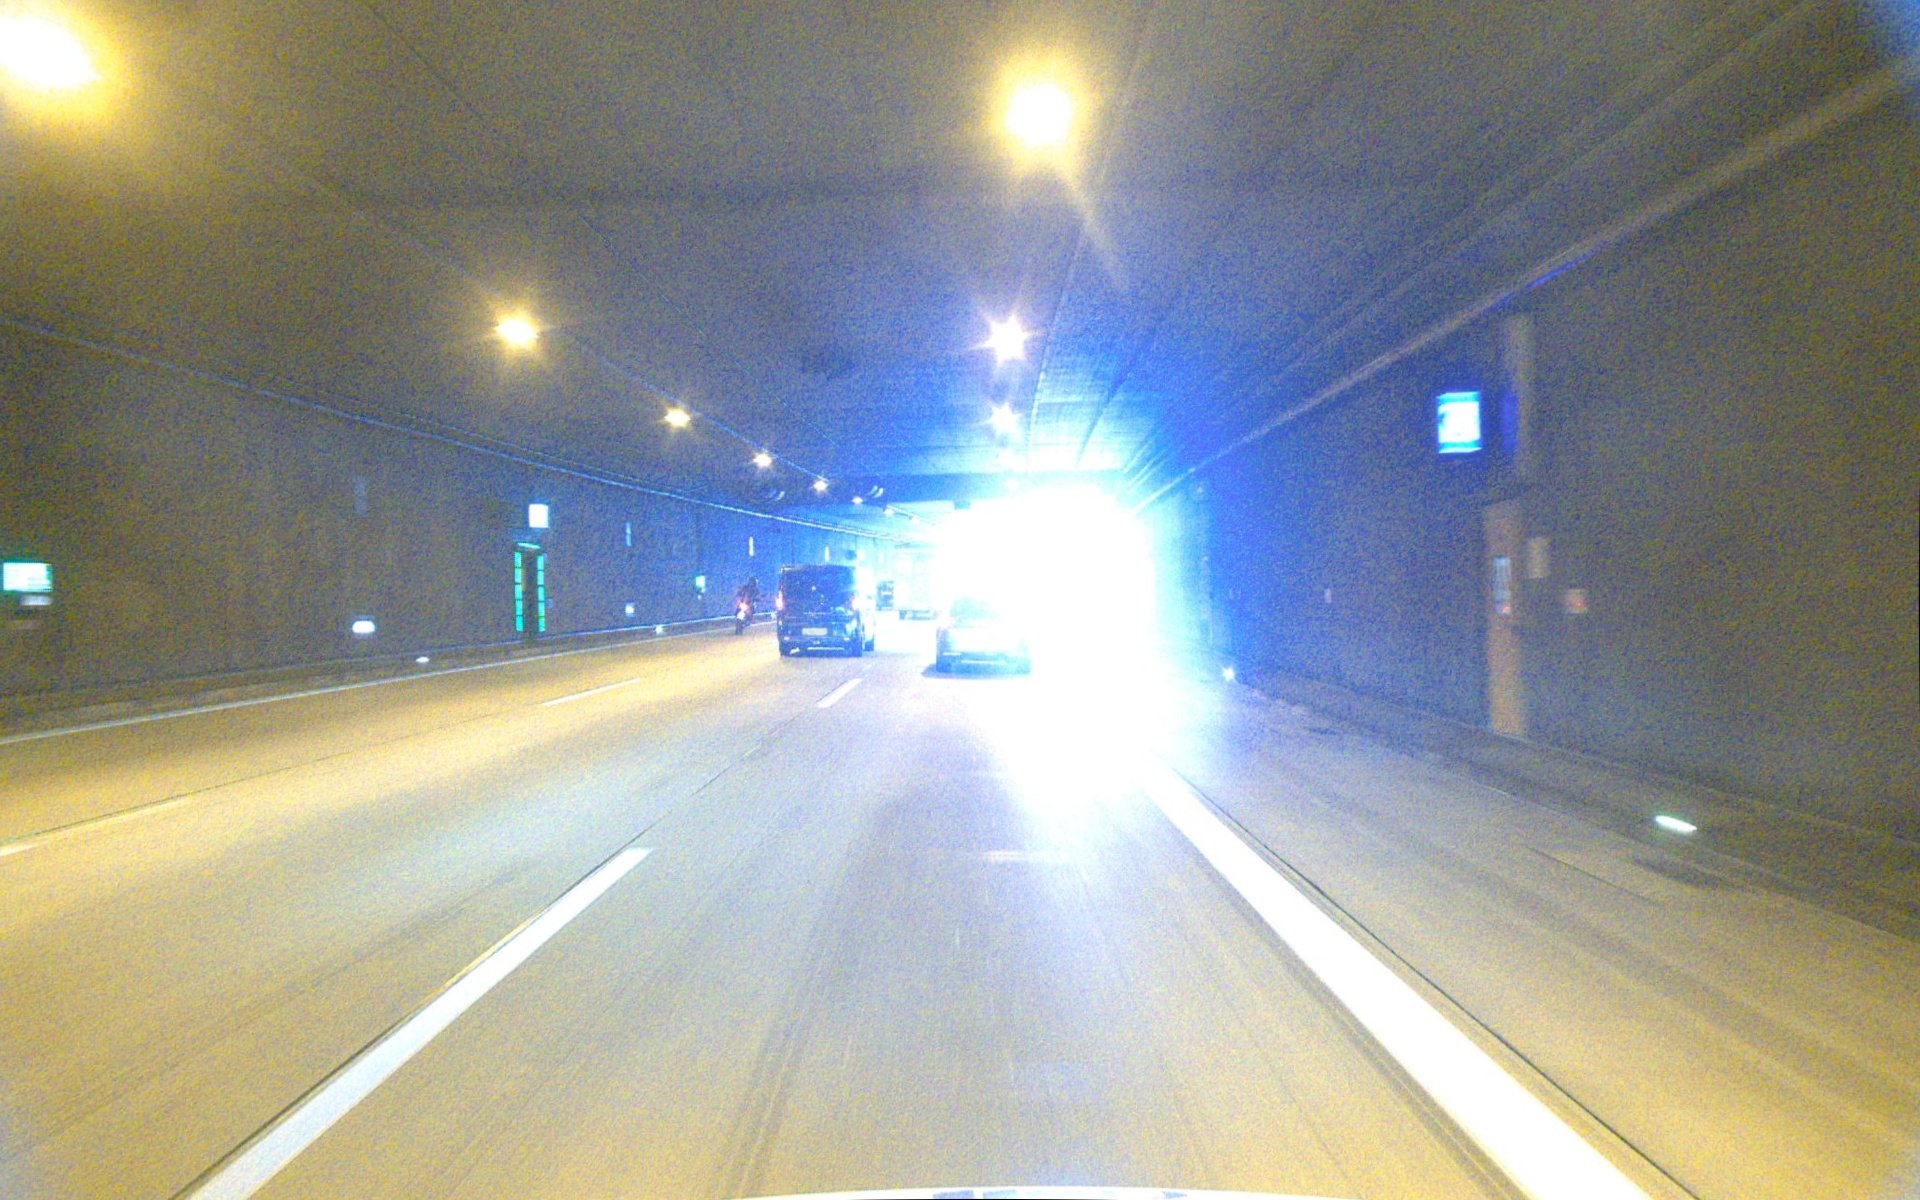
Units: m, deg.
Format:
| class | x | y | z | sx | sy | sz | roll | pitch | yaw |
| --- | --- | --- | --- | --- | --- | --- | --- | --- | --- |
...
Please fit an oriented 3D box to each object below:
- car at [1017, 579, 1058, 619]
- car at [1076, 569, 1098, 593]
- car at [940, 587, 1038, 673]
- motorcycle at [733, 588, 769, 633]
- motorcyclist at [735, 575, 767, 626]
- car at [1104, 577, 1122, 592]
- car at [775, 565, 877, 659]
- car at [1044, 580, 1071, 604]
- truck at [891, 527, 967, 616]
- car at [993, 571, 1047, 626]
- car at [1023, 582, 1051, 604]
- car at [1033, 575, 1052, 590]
| class | x | y | z | sx | sy | sz | roll | pitch | yaw |
| --- | --- | --- | --- | --- | --- | --- | --- | --- | --- |
| car | 3.830 | -0.023 | 80.919 | 1.909 | 1.803 | 4.001 | 0 | -2 | 4 |
| car | 11.677 | -1.766 | 152.186 | 1.951 | 2.049 | 4.001 | 0 | -2 | 4 |
| car | 0.604 | 0.507 | 31.076 | 1.706 | 1.489 | 3.873 | 0 | 1 | 3 |
| motorcycle | -6.248 | 0.325 | 49.498 | 0.668 | 1.320 | 2.399 | 0 | -1 | 3 |
| motorcyclist | -6.248 | 0.018 | 49.495 | 0.761 | 1.478 | 1.069 | 0 | -2 | 4 |
| car | 17.166 | -1.739 | 185.394 | 1.889 | 1.671 | 4.003 | 1 | 0 | 7 |
| car | -2.940 | 0.227 | 37.012 | 1.870 | 1.978 | 3.872 | 0 | 1 | 1 |
| car | 7.254 | -0.588 | 123.257 | 1.890 | 1.671 | 4.002 | 0 | -2 | 5 |
| truck | -1.305 | -1.197 | 73.129 | 2.976 | 3.737 | 7.394 | 0 | 0 | 2 |
| car | 2.173 | -0.060 | 58.776 | 1.818 | 1.887 | 4.002 | 0 | 0 | 3 |
| car | 6.281 | -0.549 | 134.361 | 1.951 | 1.660 | 4.003 | 0 | -1 | 8 |
| car | 9.121 | -1.915 | 182.724 | 1.889 | 1.671 | 4.003 | 0 | 0 | 7 |
